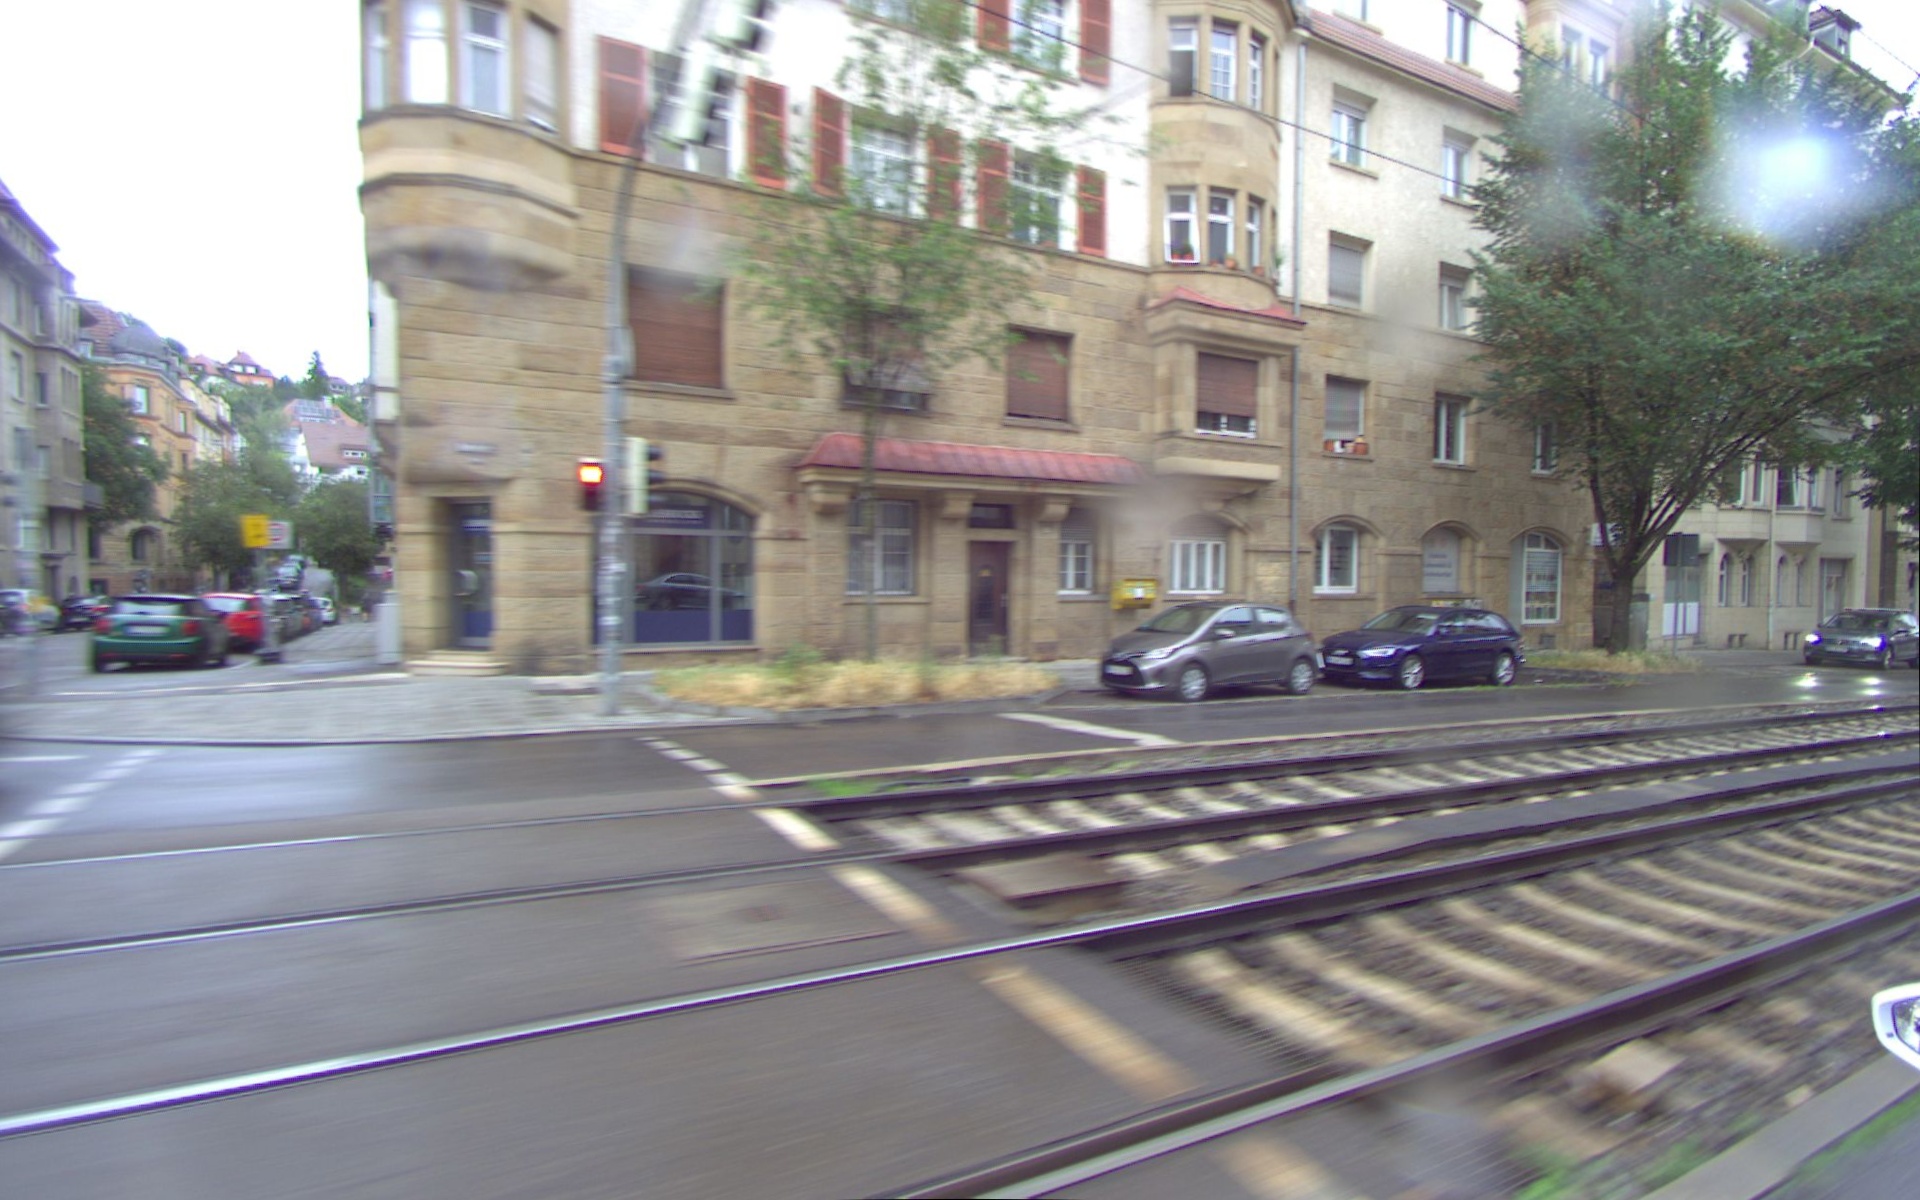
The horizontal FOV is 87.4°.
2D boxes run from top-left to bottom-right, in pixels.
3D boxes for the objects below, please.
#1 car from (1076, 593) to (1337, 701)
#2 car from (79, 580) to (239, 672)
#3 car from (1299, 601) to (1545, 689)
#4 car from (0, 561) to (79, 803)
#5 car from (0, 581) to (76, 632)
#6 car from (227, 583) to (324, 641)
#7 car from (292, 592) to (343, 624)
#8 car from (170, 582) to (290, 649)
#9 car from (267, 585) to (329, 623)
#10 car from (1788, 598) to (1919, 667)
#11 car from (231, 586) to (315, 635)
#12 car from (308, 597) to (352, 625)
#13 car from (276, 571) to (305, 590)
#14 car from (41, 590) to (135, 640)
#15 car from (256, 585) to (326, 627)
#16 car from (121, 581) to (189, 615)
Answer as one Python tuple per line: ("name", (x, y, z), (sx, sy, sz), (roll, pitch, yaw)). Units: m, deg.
("car", (4.033, 0.729, 16.244), (4.129, 1.549, 1.681), (2, 0, -32))
("car", (-15.511, 0.464, 19.664), (1.978, 1.595, 3.964), (2, 0, -32))
("car", (8.794, 0.835, 18.974), (4.922, 1.479, 1.771), (2, 0, -32))
("car", (-7.866, 0.477, 5.944), (3.690, 1.482, 1.646), (1, -1, -30))
("car", (-31.260, 0.173, 33.362), (1.976, 1.595, 3.970), (2, 0, -29))
("car", (-20.447, 0.336, 30.146), (1.976, 1.595, 3.970), (2, 0, -29))
("car", (-34.090, 0.418, 53.407), (1.976, 1.595, 3.970), (2, 0, -29))
("car", (-18.944, 0.373, 26.249), (1.976, 1.595, 3.970), (2, 0, -29))
("car", (-29.715, 0.181, 45.182), (1.976, 1.595, 3.970), (2, 0, -29))
("car", (26.600, 0.923, 29.556), (4.724, 1.765, 1.942), (1, 4, -31))
("car", (-24.037, 0.358, 35.278), (1.976, 1.595, 3.970), (2, 0, -29))
("car", (-38.121, 0.660, 60.889), (1.976, 1.595, 3.970), (2, 0, -29))
("car", (-60.595, -1.755, 90.970), (1.977, 1.595, 3.966), (2, 0, -31))
("car", (-35.580, 0.593, 41.117), (2.046, 1.932, 3.970), (2, 0, -29))
("car", (-27.088, 0.223, 40.786), (1.976, 1.595, 3.970), (2, 0, -29))
("car", (-40.500, -0.105, 50.644), (1.976, 1.595, 3.970), (2, 0, -29))
